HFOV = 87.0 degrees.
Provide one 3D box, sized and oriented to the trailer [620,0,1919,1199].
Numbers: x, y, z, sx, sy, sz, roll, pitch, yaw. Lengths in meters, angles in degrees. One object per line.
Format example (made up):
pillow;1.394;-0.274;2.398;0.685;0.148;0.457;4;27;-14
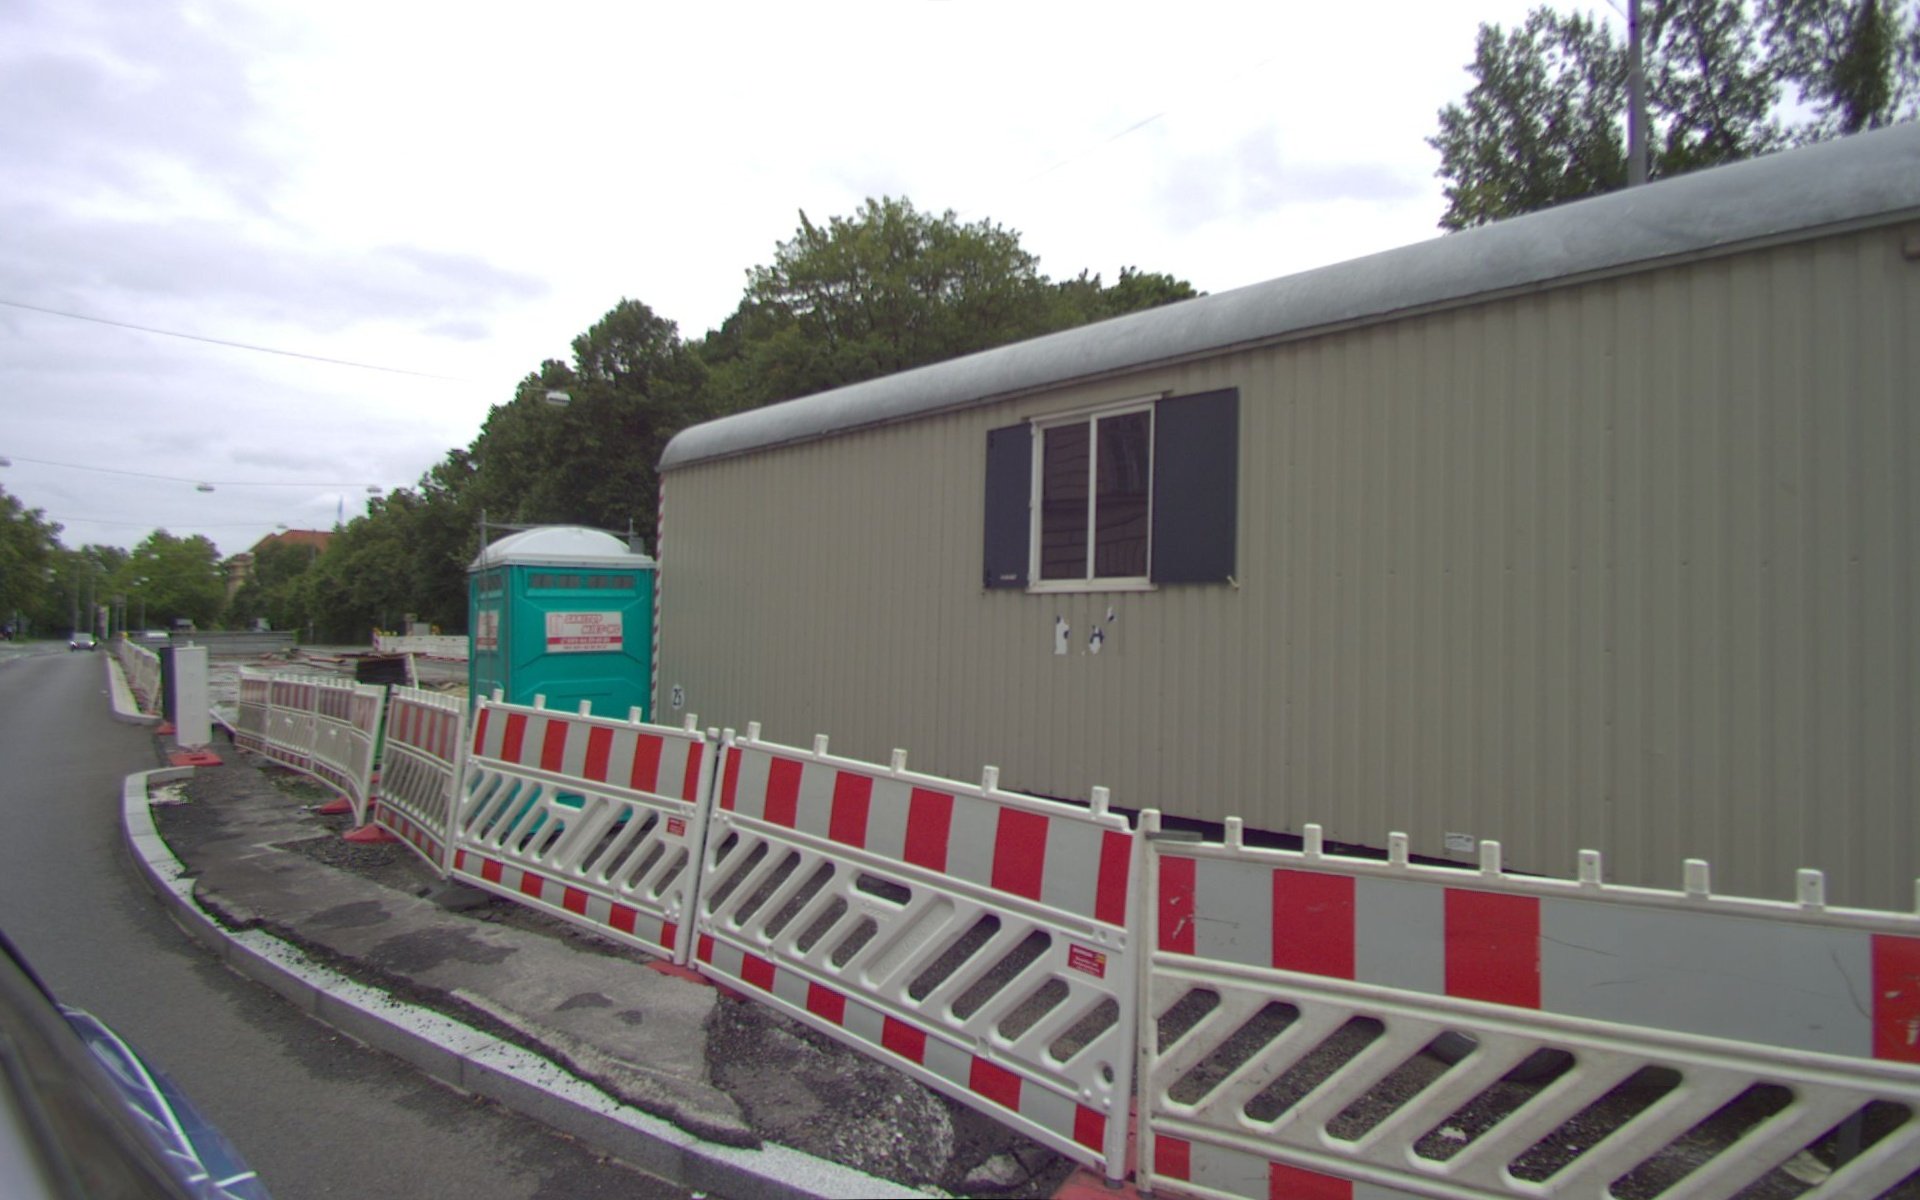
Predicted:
trailer;0.871;0.104;5.833;7.522;3.268;2.201;-2;-3;45

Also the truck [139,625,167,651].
truck;-85.848;4.017;107.620;2.028;2.661;4.418;2;-3;-42

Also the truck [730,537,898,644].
truck;-4.310;-0.147;28.877;1.968;2.749;5.879;1;-2;-40

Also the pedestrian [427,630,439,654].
pedestrian;-36.767;2.935;70.621;0.655;1.653;0.699;1;-2;-40

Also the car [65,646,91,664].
car;-90.408;5.579;103.734;1.969;1.762;4.005;1;-2;-42
